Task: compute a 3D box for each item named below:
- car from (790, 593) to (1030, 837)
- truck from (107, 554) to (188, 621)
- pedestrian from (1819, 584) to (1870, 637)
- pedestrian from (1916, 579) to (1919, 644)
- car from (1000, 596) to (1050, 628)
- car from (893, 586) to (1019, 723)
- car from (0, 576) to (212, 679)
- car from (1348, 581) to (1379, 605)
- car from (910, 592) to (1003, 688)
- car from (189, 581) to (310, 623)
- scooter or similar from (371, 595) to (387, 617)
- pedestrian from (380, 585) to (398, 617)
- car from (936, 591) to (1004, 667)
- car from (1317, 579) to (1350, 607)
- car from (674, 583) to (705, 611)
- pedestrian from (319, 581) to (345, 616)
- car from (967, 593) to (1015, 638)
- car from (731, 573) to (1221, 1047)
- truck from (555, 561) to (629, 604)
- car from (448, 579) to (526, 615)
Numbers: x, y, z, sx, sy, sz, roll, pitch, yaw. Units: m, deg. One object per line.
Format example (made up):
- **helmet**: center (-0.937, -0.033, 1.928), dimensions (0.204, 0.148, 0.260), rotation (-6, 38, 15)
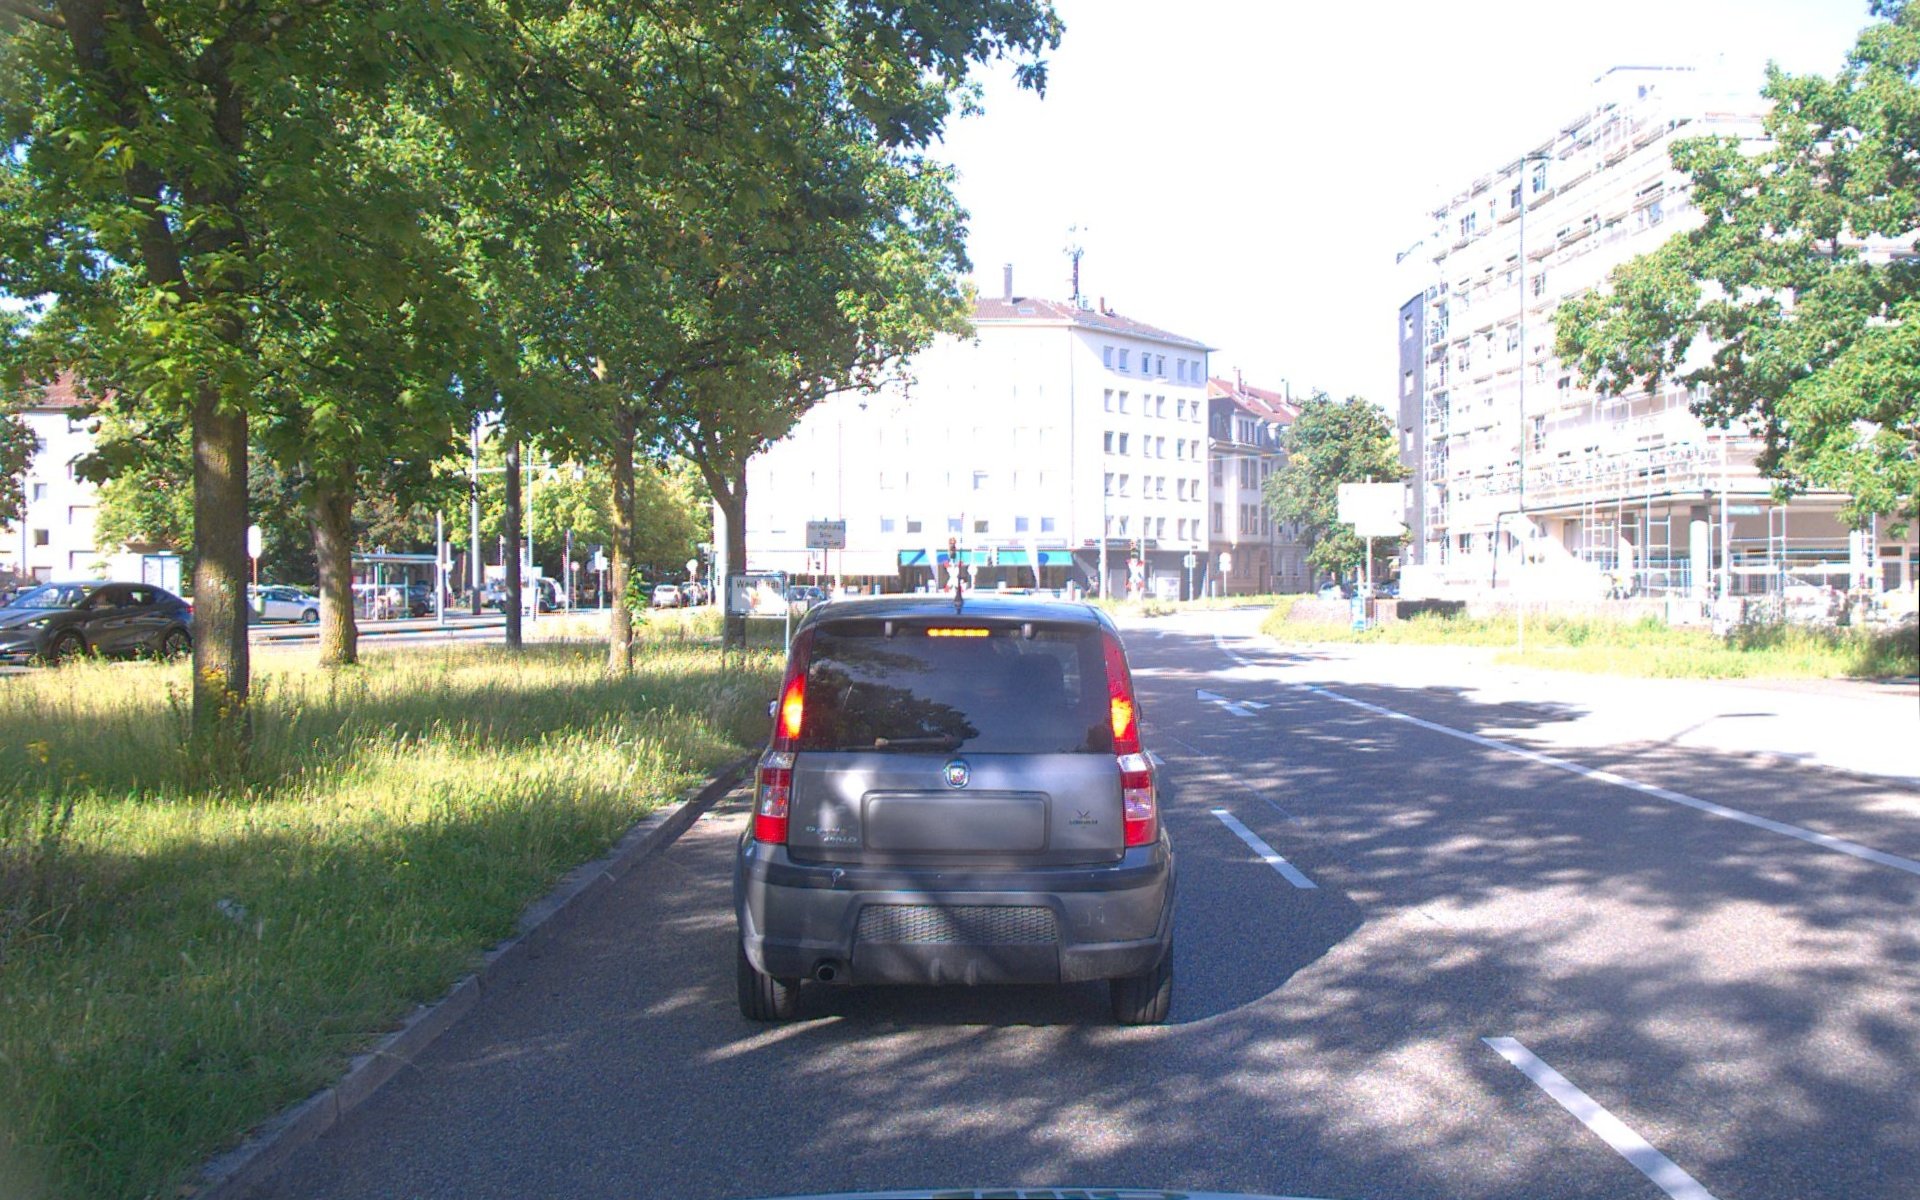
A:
- **car**: center (-0.322, 0.683, 11.628), dimensions (1.434, 1.425, 3.393), rotation (0, 1, -1)
- **truck**: center (-35.745, -0.550, 72.691), dimensions (3.932, 2.854, 1.987), rotation (0, 1, 44)
- **pedestrian**: center (24.748, 0.283, 46.288), dimensions (0.882, 1.472, 0.957), rotation (-1, 0, -27)
- **pedestrian**: center (25.429, 0.307, 42.713), dimensions (0.878, 1.682, 0.978), rotation (-1, 0, -28)
- **car**: center (2.283, 0.403, 57.702), dimensions (1.118, 1.083, 2.723), rotation (0, 1, 17)
- **car**: center (-0.074, 0.606, 20.634), dimensions (1.434, 1.534, 3.504), rotation (0, 1, -1)
- **car**: center (-15.517, 0.423, 29.349), dimensions (1.787, 1.676, 4.464), rotation (0, 1, 12)
- **car**: center (23.009, -0.394, 94.242), dimensions (1.495, 1.337, 3.289), rotation (0, 1, 17)
- **car**: center (-0.083, 0.610, 27.279), dimensions (1.434, 1.449, 3.381), rotation (0, 1, -1)
- **car**: center (-29.956, 0.051, 69.784), dimensions (1.961, 1.713, 4.302), rotation (0, 1, 38)
- **scooter or similar**: center (-25.657, 0.259, 73.080), dimensions (0.411, 0.943, 0.534), rotation (0, 0, 25)
- **pedestrian**: center (-25.410, 0.027, 73.605), dimensions (0.407, 1.415, 0.626), rotation (0, 0, 26)
- **car**: center (0.175, 0.557, 33.861), dimensions (1.328, 1.475, 3.265), rotation (0, 0, -1)
- **car**: center (20.504, -0.392, 90.712), dimensions (1.646, 1.475, 3.574), rotation (0, 1, 15)
- **car**: center (-20.154, -0.265, 123.285), dimensions (1.954, 2.049, 3.996), rotation (0, 1, -5)
- **pedestrian**: center (-29.324, -0.061, 77.232), dimensions (0.904, 1.636, 0.794), rotation (0, 0, 38)
- **car**: center (0.916, 0.445, 49.607), dimensions (1.328, 1.304, 2.875), rotation (0, 1, -1)
- **car**: center (0.028, 0.662, 7.412), dimensions (1.595, 1.534, 3.999), rotation (0, 1, -1)
- **truck**: center (-28.358, -1.352, 127.369), dimensions (5.371, 3.224, 2.341), rotation (0, 0, 28)
- **car**: center (-27.930, -0.181, 97.752), dimensions (4.093, 2.049, 1.930), rotation (0, 0, -3)
